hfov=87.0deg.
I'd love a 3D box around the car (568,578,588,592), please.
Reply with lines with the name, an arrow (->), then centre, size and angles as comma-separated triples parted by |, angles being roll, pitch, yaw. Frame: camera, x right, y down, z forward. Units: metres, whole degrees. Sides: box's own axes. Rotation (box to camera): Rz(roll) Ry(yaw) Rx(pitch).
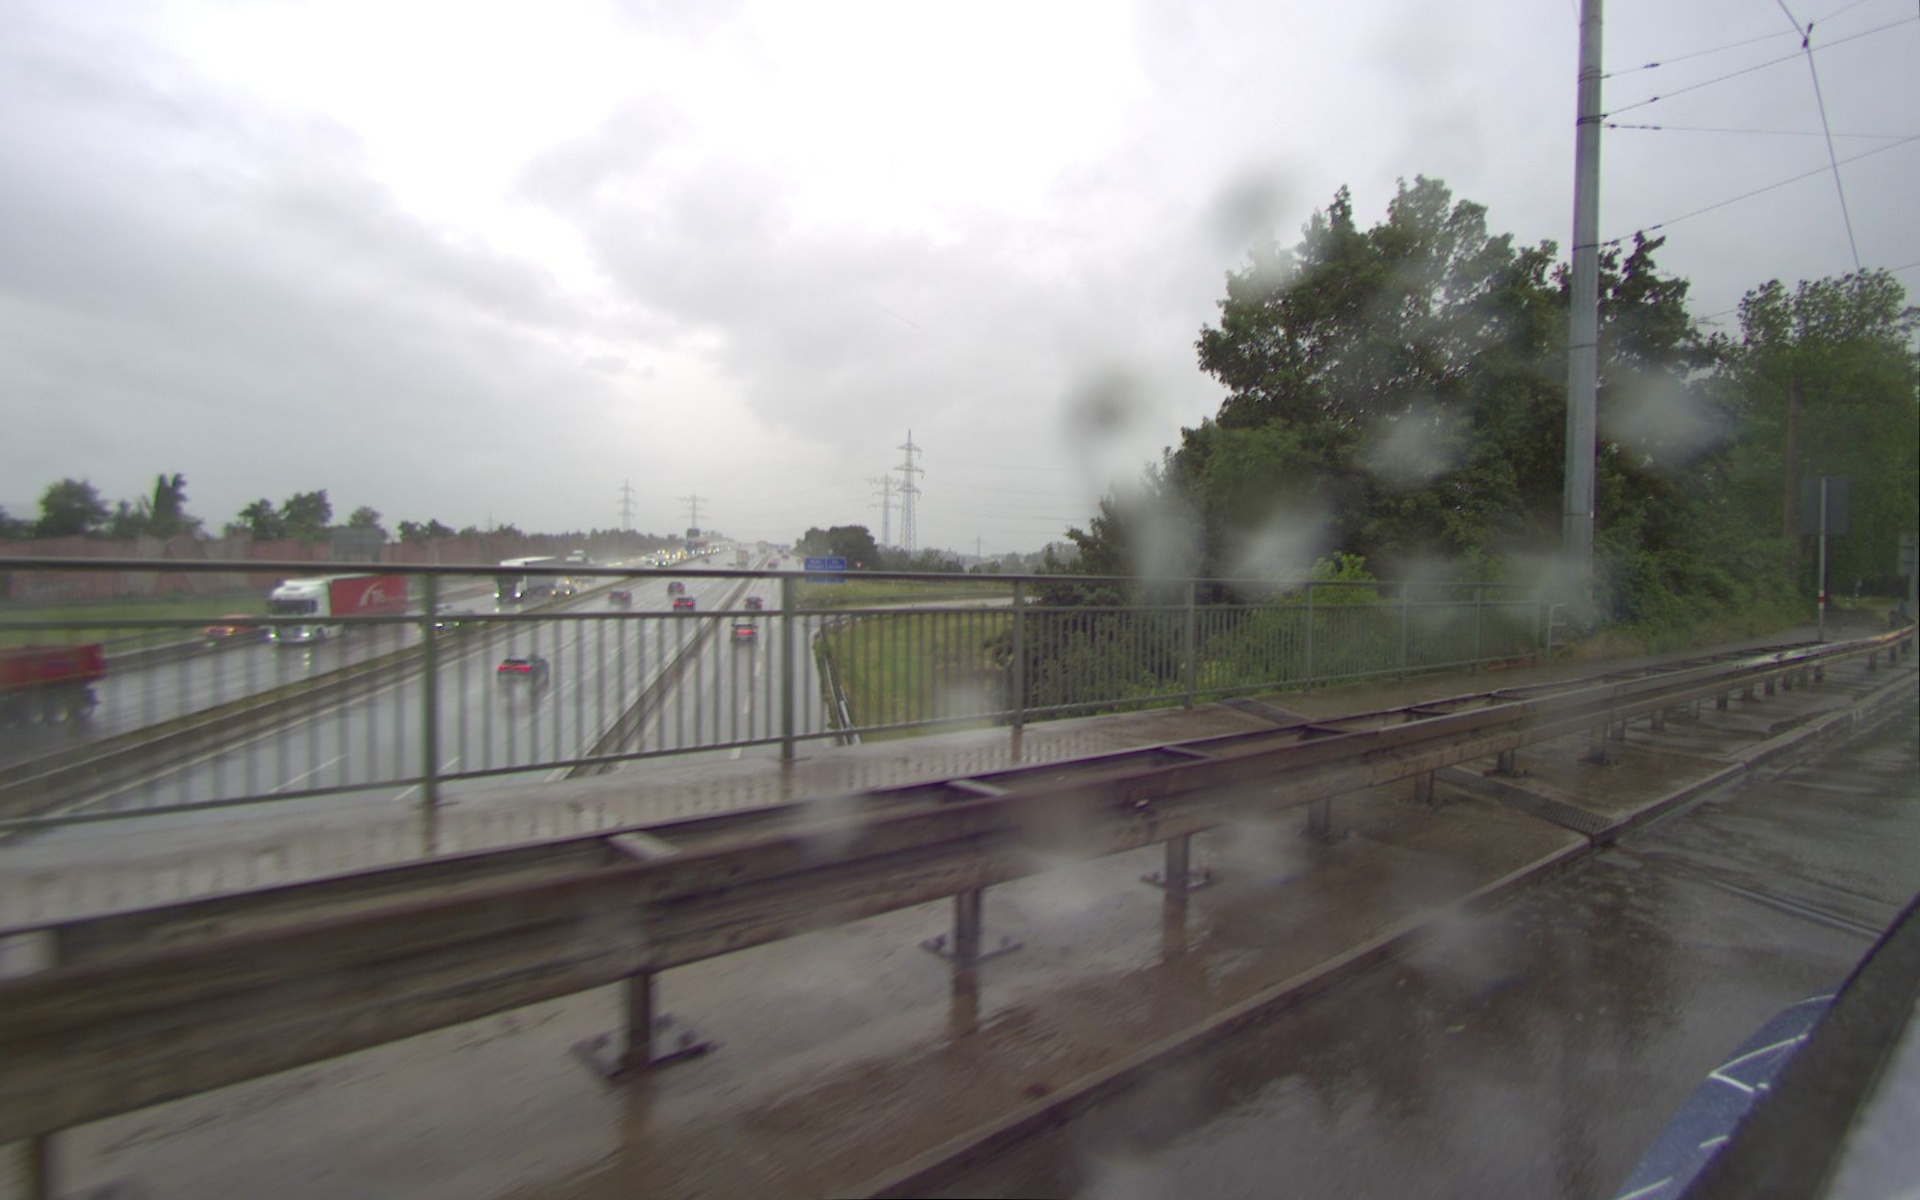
car -> -52.309, -2.055, 138.683 | 1.887, 1.781, 3.877 | -1, 1, -9

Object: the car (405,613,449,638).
car -> -42.012, 1.995, 79.876 | 1.770, 1.516, 4.009 | -3, 4, -8

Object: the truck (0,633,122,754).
truck -> -34.829, 3.487, 34.732 | 3.079, 3.796, 12.401 | -2, 2, -7

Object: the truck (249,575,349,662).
truck -> -43.755, 1.087, 67.194 | 3.079, 5.175, 5.817 | -2, 4, -7

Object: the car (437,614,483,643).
car -> -36.371, 2.066, 73.741 | 1.770, 1.603, 4.010 | -3, 5, -8

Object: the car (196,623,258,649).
car -> -49.873, 2.435, 68.927 | 1.770, 1.605, 4.005 | -3, -1, -8

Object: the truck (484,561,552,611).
truck -> -46.463, -1.604, 106.918 | 3.079, 4.495, 12.407 | -2, 4, -7

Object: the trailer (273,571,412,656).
trailer -> -44.656, 0.697, 73.952 | 3.079, 5.007, 13.874 | -2, 4, -7
